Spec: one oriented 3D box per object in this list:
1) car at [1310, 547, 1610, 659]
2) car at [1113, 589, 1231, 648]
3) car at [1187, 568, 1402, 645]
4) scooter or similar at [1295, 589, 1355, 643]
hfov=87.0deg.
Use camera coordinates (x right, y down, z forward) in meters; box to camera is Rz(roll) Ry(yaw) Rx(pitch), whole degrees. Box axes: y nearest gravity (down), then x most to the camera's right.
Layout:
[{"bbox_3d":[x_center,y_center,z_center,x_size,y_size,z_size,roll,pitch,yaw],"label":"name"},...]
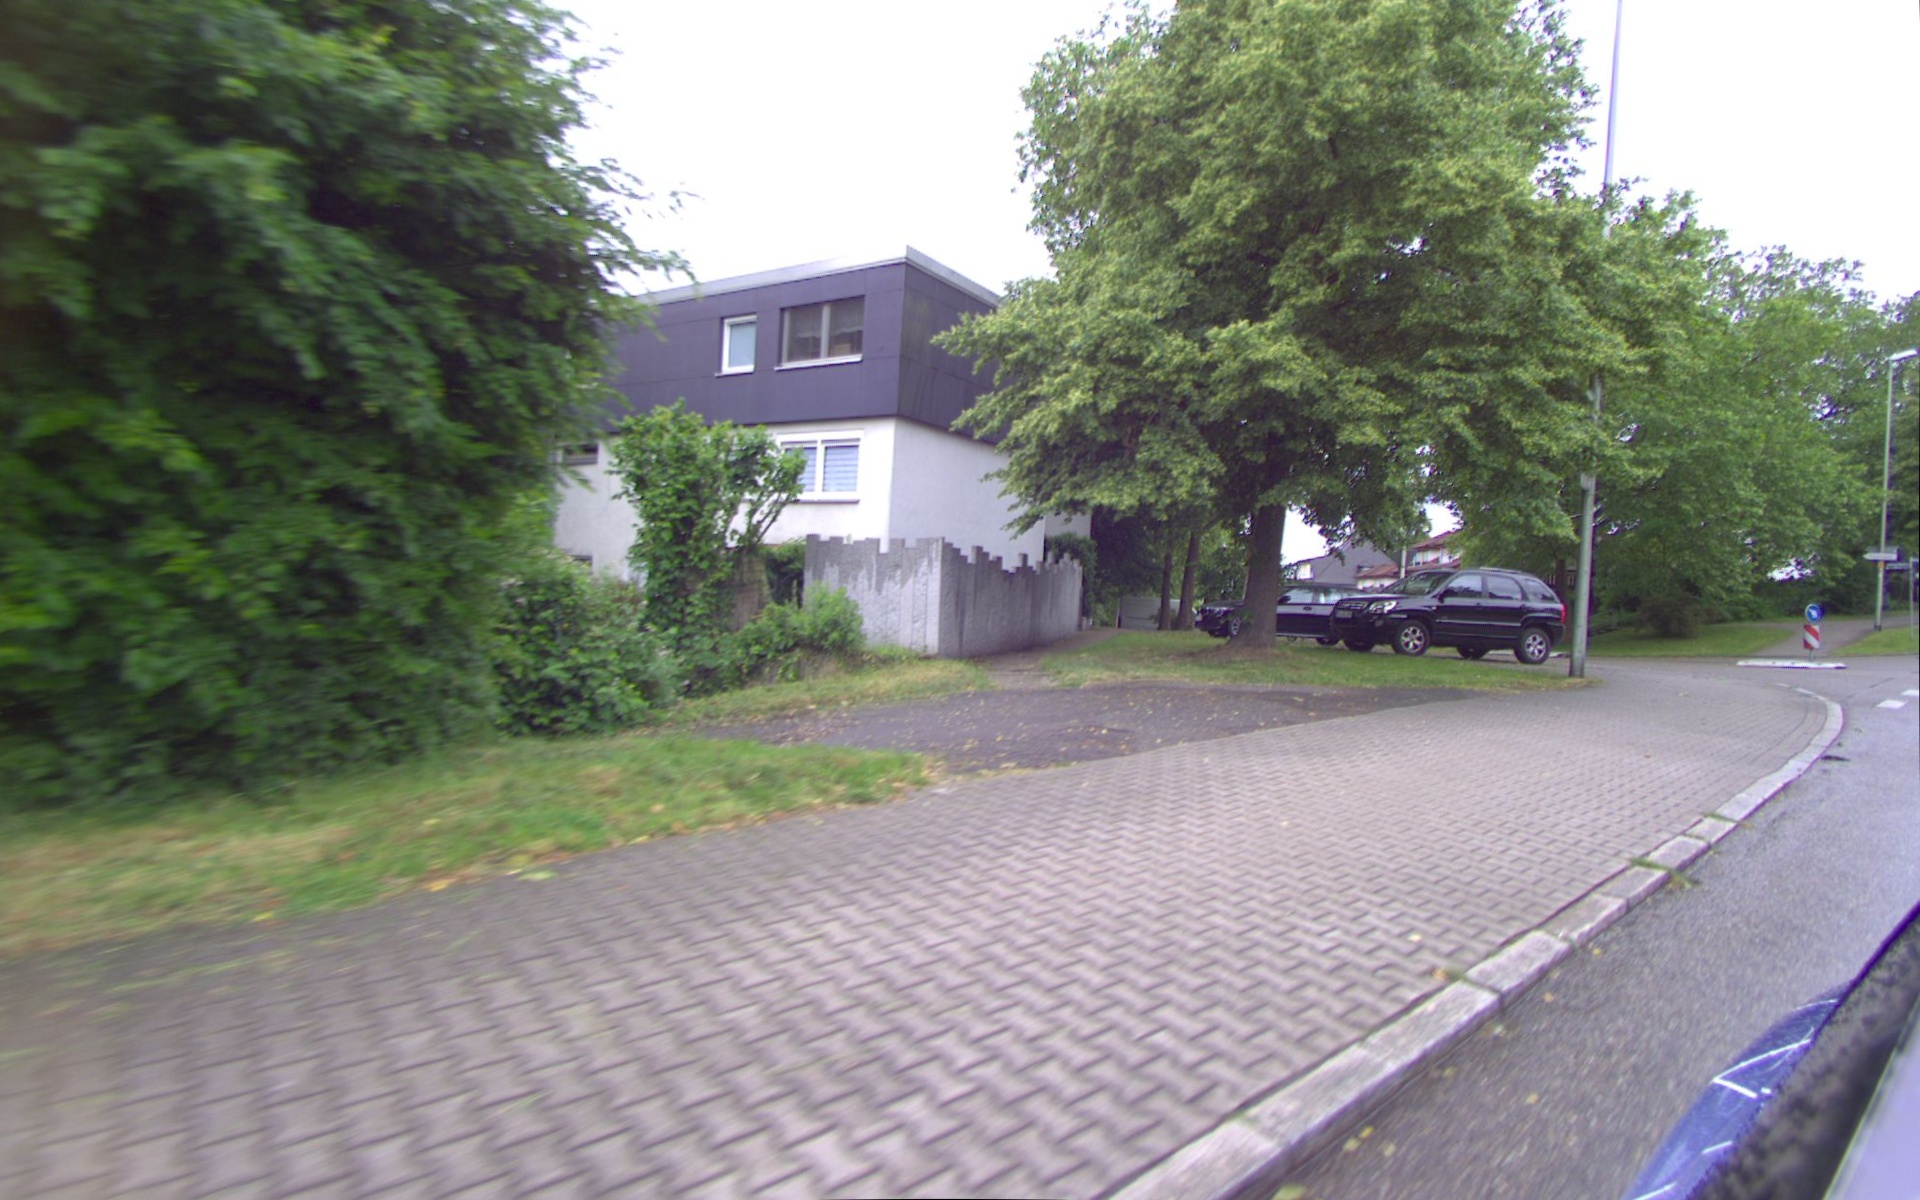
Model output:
[{"bbox_3d":[9.329,0.075,19.030,4.801,1.711,1.957,4,-1,-12],"label":"car"},{"bbox_3d":[11.711,0.992,56.400,6.047,2.707,2.352,5,0,8],"label":"car"},{"bbox_3d":[7.963,0.154,24.343,4.477,1.488,1.757,4,-1,-3],"label":"car"},{"bbox_3d":[9.587,0.409,26.594,1.336,1.301,0.553,4,3,45],"label":"scooter or similar"}]
